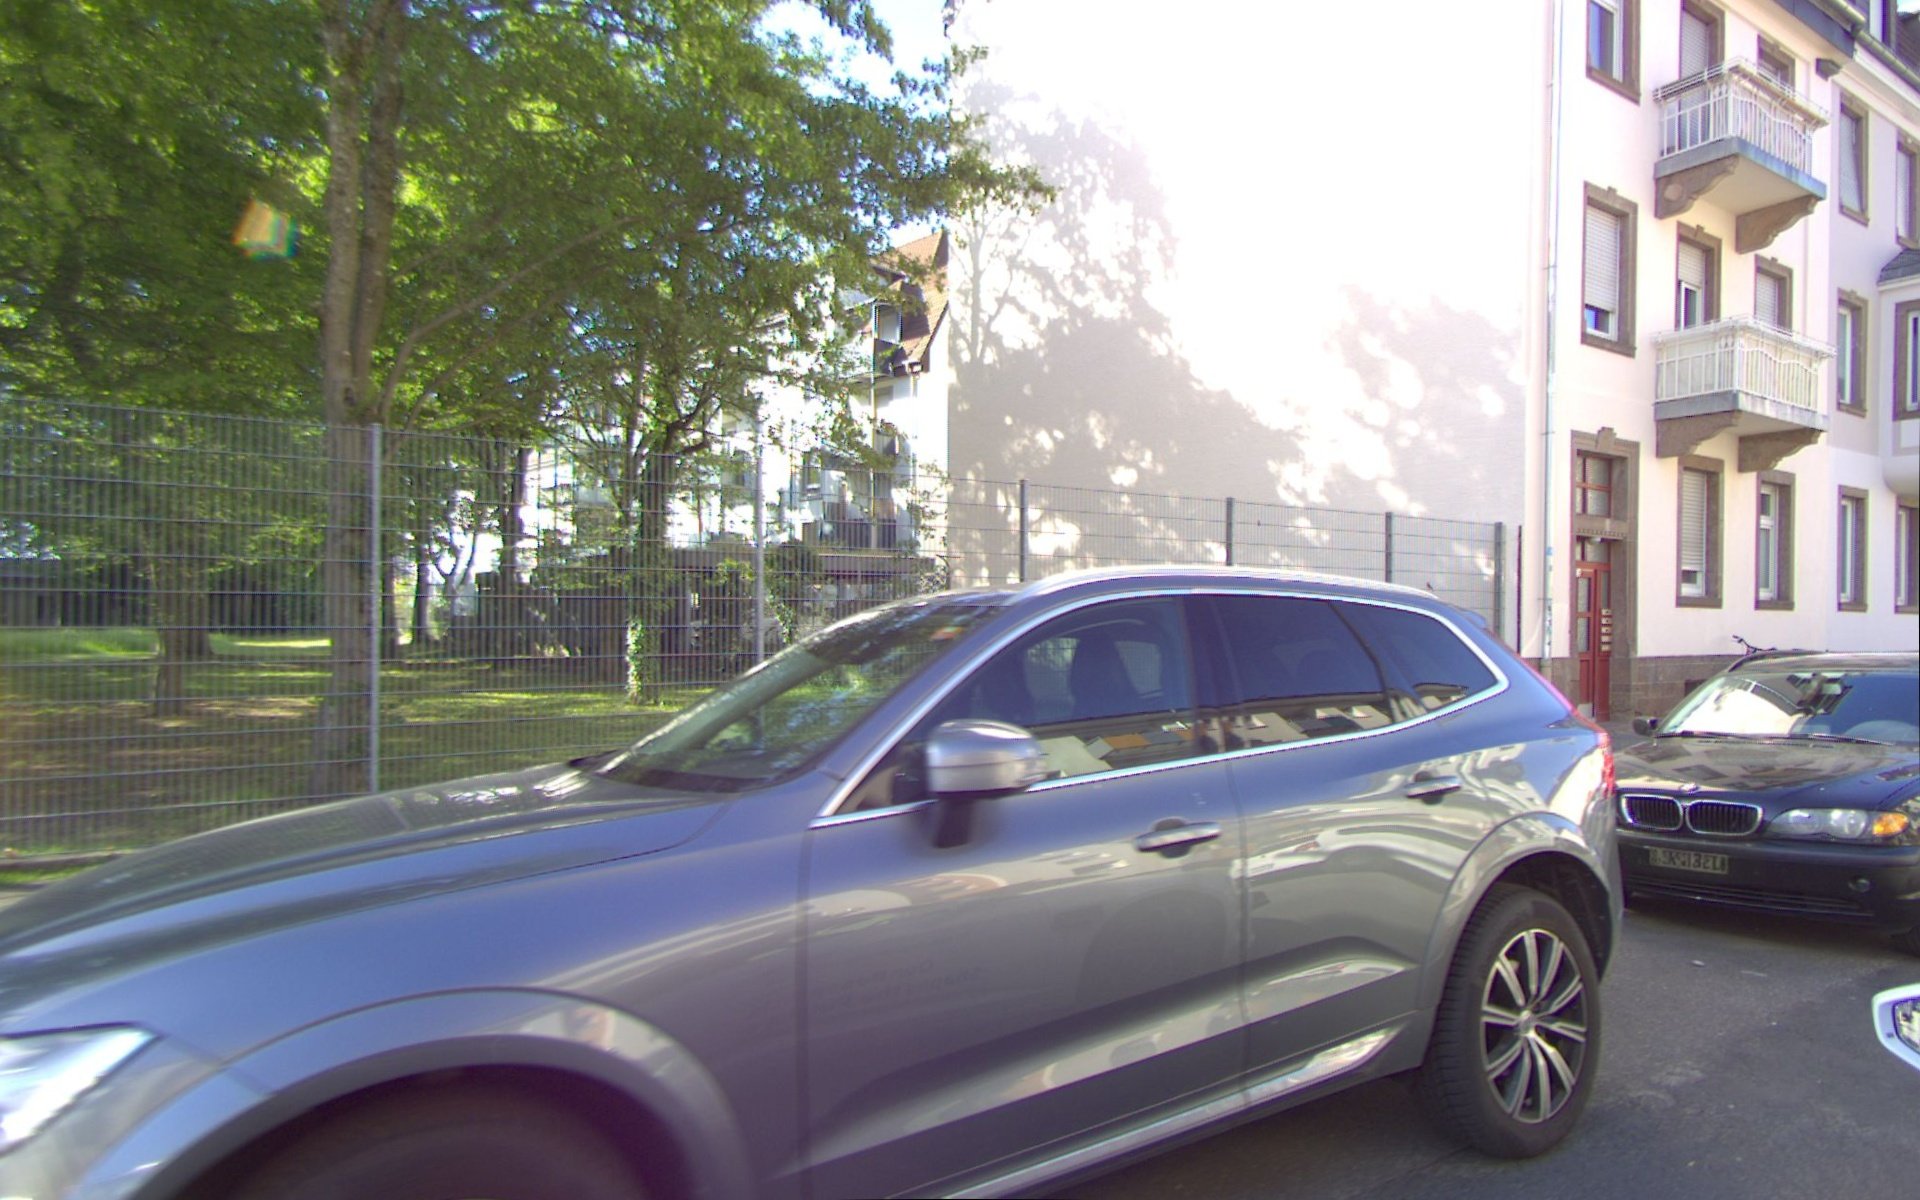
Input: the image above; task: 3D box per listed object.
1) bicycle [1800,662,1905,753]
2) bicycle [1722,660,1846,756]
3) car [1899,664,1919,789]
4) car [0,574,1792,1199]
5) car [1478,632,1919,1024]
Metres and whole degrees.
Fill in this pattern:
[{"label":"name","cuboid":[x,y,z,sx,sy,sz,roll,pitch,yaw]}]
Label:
[{"label":"bicycle","cuboid":[14.461,1.695,16.250,2.313,1.296,0.566,-1,-2,-31]},{"label":"bicycle","cuboid":[12.041,1.533,14.655,2.313,1.219,0.626,-1,-2,-31]},{"label":"car","cuboid":[10.547,1.217,9.098,4.591,1.560,1.784,0,-7,-33]},{"label":"car","cuboid":[0.310,0.906,3.009,4.877,1.685,1.869,1,-5,-32]},{"label":"car","cuboid":[5.317,1.054,5.982,4.407,1.582,1.785,1,-7,-30]}]
